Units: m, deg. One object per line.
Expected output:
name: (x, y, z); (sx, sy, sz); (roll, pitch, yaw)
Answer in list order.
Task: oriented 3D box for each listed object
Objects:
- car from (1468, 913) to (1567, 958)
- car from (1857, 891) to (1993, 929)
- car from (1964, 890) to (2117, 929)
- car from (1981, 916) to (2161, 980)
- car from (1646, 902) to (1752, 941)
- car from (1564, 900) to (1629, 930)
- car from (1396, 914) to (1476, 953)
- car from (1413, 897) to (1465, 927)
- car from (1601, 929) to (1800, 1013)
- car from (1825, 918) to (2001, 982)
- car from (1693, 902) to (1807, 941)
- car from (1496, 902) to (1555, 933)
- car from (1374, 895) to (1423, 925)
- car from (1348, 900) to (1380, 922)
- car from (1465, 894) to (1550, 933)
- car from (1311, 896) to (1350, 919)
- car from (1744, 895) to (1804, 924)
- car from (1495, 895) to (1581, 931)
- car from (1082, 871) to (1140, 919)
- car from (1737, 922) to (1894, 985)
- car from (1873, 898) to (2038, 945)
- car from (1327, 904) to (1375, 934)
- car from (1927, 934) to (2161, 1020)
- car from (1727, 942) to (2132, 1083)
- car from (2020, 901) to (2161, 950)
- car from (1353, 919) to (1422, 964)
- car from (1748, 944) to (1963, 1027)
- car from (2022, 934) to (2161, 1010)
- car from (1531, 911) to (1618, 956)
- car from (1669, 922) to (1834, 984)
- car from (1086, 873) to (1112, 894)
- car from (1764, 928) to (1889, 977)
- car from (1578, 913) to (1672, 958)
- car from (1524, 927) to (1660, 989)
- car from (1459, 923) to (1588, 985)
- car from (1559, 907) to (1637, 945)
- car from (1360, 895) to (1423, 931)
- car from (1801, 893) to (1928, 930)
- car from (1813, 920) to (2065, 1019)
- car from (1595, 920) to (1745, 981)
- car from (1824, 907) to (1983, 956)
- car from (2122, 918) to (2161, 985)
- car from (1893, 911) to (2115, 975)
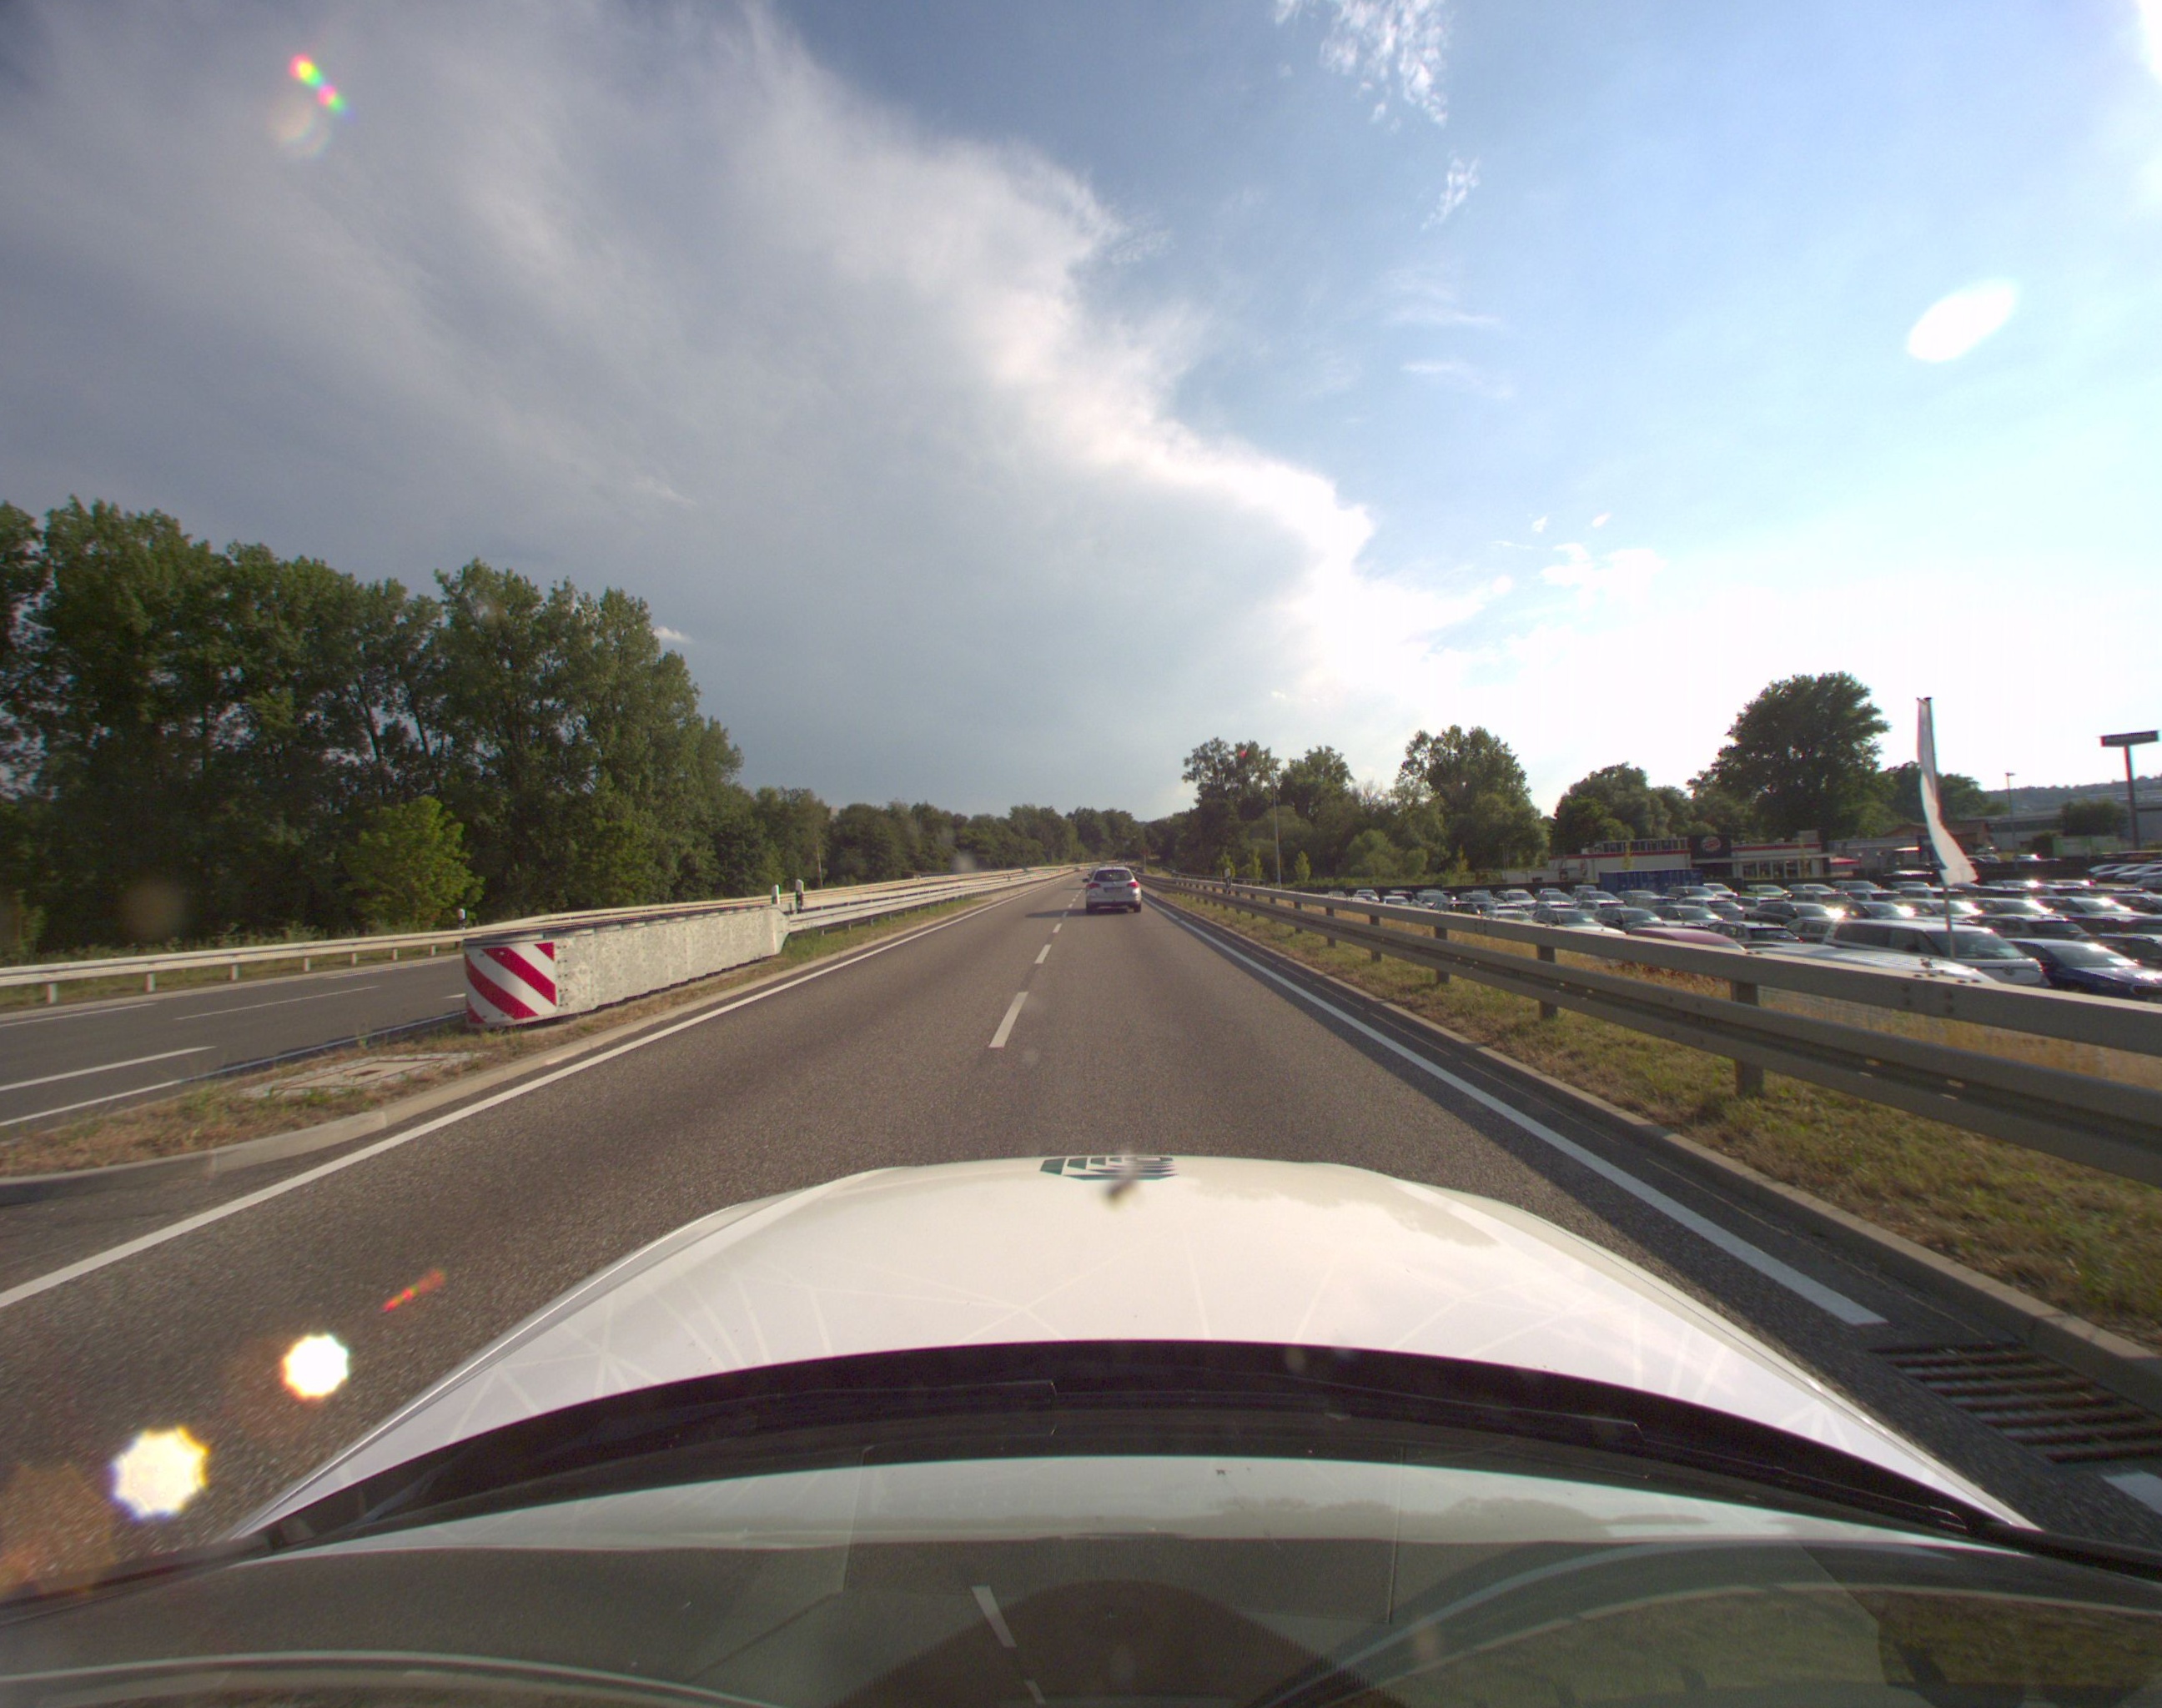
car: (18.719, 3.462, 35.203); (1.872, 1.636, 4.731); (-1, -2, 2)
car: (39.978, 2.615, 38.777); (1.870, 1.636, 4.737); (-1, -2, 6)
car: (44.911, 2.550, 38.300); (1.870, 1.636, 4.737); (-1, -2, 6)
car: (31.101, 2.857, 25.458); (1.765, 1.684, 4.008); (-1, -2, 8)
car: (30.094, 3.255, 39.879); (1.871, 1.636, 4.735); (-1, -2, 5)
car: (31.629, 3.696, 50.109); (1.766, 1.684, 4.006); (-1, -2, 6)
car: (17.970, 3.997, 41.455); (1.992, 1.651, 4.728); (-1, -2, 0)
car: (21.932, 3.520, 50.043); (1.766, 1.684, 4.006); (-1, -2, 6)
car: (15.623, 2.893, 20.919); (1.870, 1.626, 4.737); (-1, -2, 6)
car: (26.060, 2.956, 25.730); (1.765, 1.684, 4.008); (-1, -2, 8)
car: (32.780, 3.271, 40.112); (1.871, 1.636, 4.733); (-1, -2, 4)
car: (27.100, 3.838, 49.776); (1.766, 1.684, 4.006); (-1, -2, 6)
car: (19.634, 3.451, 50.521); (1.766, 1.684, 4.004); (-1, -2, 5)
car: (22.549, 4.533, 65.019); (1.939, 1.642, 4.258); (-1, -2, 14)
car: (21.233, 2.924, 40.808); (1.829, 1.716, 4.666); (-1, -2, 0)
car: (17.382, 3.725, 56.924); (1.698, 1.464, 4.003); (-1, -2, 3)
car: (46.527, 3.715, 54.758); (1.733, 1.794, 3.797); (-1, -2, 18)
car: (23.044, 2.953, 41.257); (1.872, 1.636, 4.732); (-1, -2, 3)
car: (0.971, 1.343, 27.312); (1.803, 1.486, 4.000); (-1, -2, 1)
car: (23.565, 3.151, 26.351); (1.765, 1.684, 4.008); (-1, -2, 8)
car: (35.021, 2.663, 32.836); (1.870, 1.636, 4.737); (-1, -2, 6)
car: (16.879, 4.008, 51.054); (1.768, 1.684, 4.001); (-1, -2, 2)
car: (23.432, 2.827, 19.581); (1.867, 1.522, 4.743); (-1, -2, 11)
car: (14.048, 2.525, 14.036); (1.876, 1.626, 4.723); (-1, -2, -3)
car: (39.615, 2.691, 31.377); (1.870, 1.636, 4.580); (-1, -2, 6)
car: (13.243, 3.757, 35.368); (1.606, 1.679, 3.836); (-1, -2, 1)
car: (18.264, 3.047, 19.493); (1.661, 1.472, 4.008); (-1, -2, 8)
car: (25.534, 2.788, 19.176); (1.867, 1.522, 4.743); (-1, -2, 11)
car: (21.405, 3.417, 35.512); (1.765, 1.684, 4.008); (-1, -2, 8)
car: (21.725, 3.162, 26.705); (1.870, 1.636, 4.737); (-1, -2, 7)
car: (1.330, 2.213, 60.306); (1.803, 1.486, 4.000); (-1, -2, 1)
car: (30.355, 3.971, 33.338); (1.765, 1.684, 4.008); (-1, -2, 8)
car: (23.410, 3.467, 35.251); (1.765, 1.684, 4.008); (-1, -2, 8)
car: (16.828, 3.376, 27.143); (1.871, 1.636, 4.735); (-1, -2, 5)
car: (14.546, 3.244, 27.133); (1.872, 1.626, 4.732); (-1, -2, 3)
car: (25.920, 3.593, 41.022); (1.765, 1.684, 4.008); (-1, -2, 8)
car: (15.763, 2.954, 41.528); (1.768, 1.684, 4.001); (-1, -2, 2)
car: (37.784, 2.739, 39.462); (1.870, 1.636, 4.737); (-1, -2, 6)
car: (20.970, 2.733, 20.272); (1.867, 1.931, 4.743); (-1, -2, 11)
car: (19.583, 3.144, 27.372); (1.871, 1.636, 4.735); (-1, -2, 5)
car: (32.582, 3.018, 32.506); (1.870, 1.636, 4.737); (-1, -2, 6)
car: (28.004, 2.427, 19.024); (1.867, 1.636, 4.743); (-1, -2, 11)
car: (28.554, 2.700, 25.487); (1.870, 1.636, 4.737); (-1, -2, 7)
